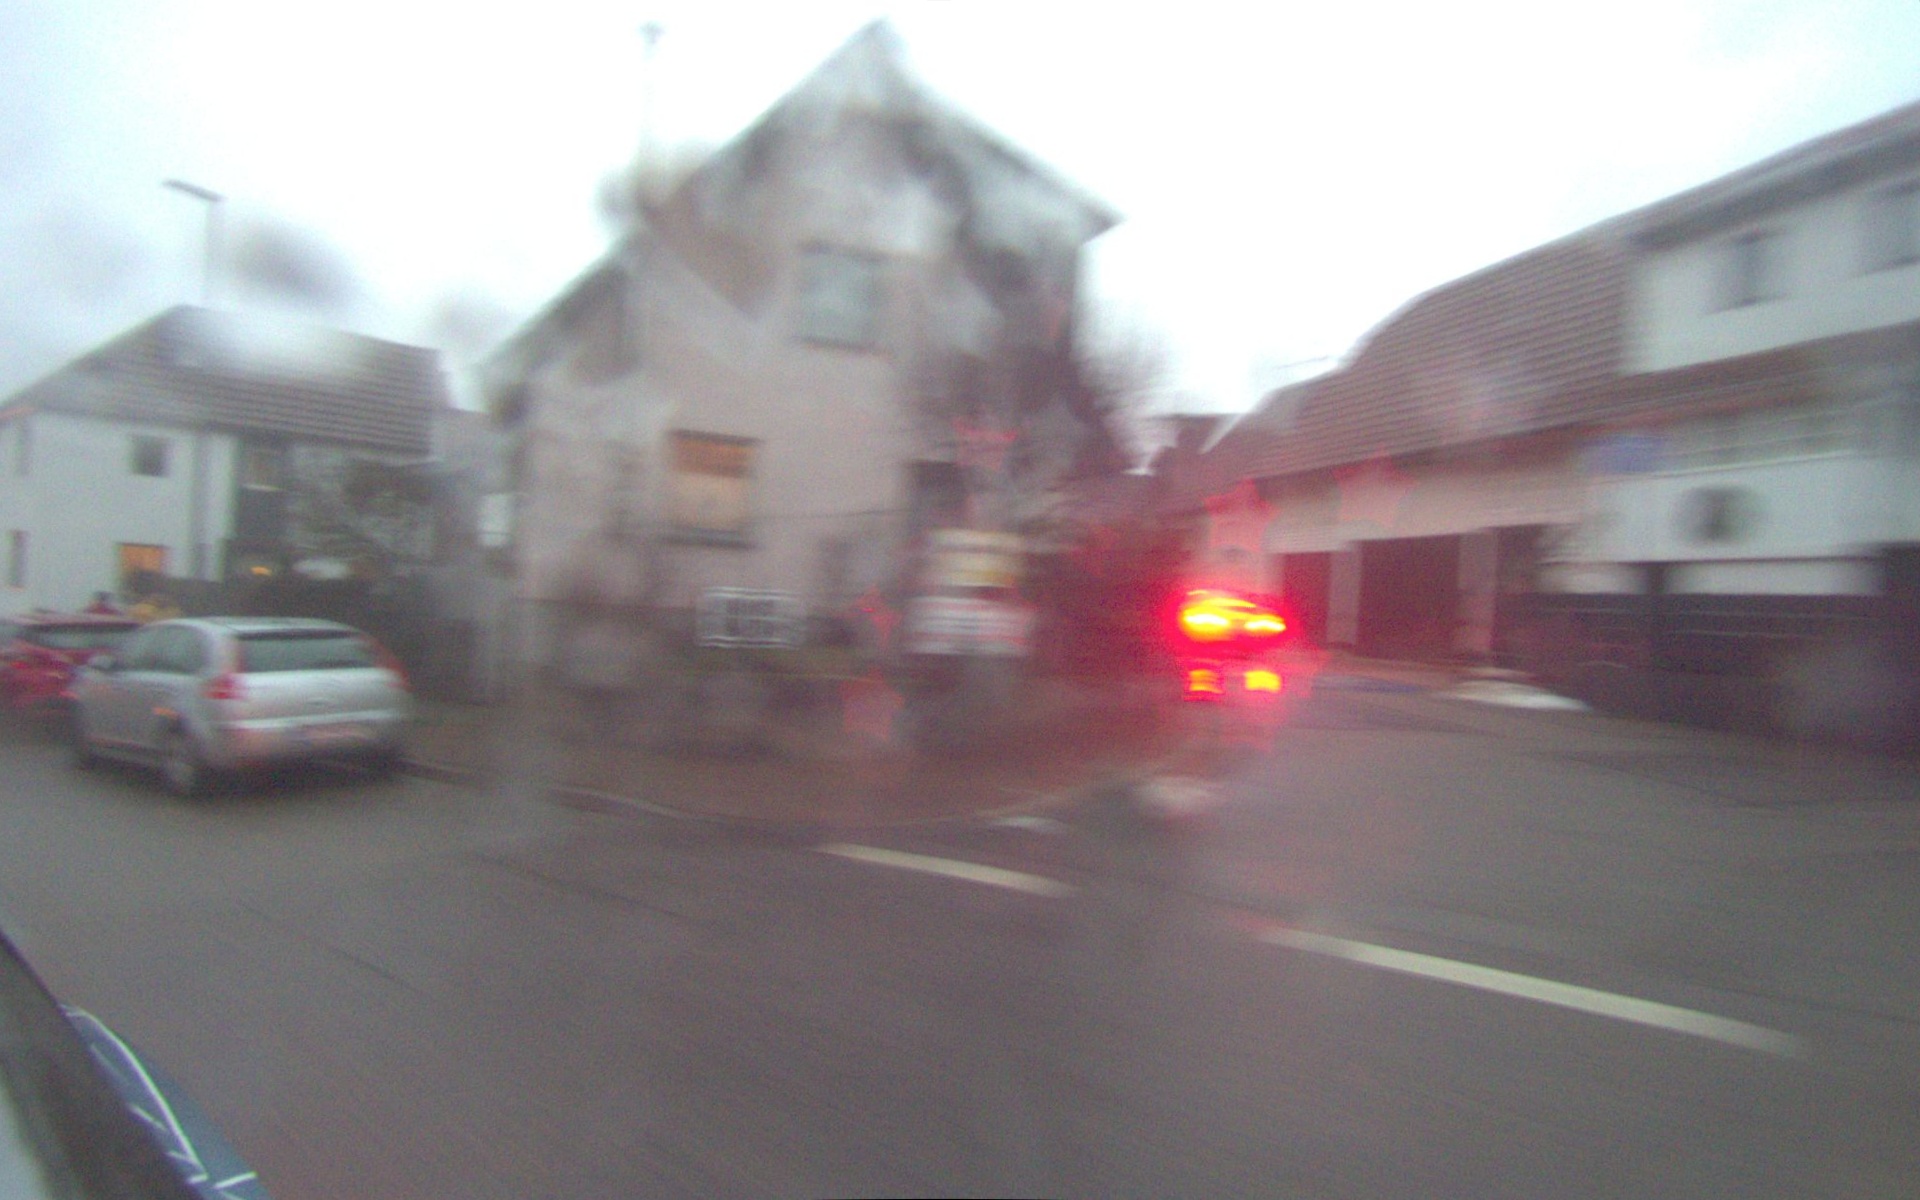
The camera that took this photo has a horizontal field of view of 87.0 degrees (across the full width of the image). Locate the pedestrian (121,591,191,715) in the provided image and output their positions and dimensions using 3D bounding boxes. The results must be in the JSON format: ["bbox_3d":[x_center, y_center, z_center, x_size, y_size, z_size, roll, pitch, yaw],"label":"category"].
[{"bbox_3d":[-12.636,0.818,15.905,0.810,1.883,0.593,1,-1,33],"label":"pedestrian"}]

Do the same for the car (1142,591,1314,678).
[{"bbox_3d":[5.462,0.640,21.201,1.968,1.644,4.008,1,0,-10],"label":"car"}]

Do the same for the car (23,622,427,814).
[{"bbox_3d":[-6.935,0.920,9.436,4.135,1.399,1.734,0,-1,34],"label":"car"}]

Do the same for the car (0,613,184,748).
[{"bbox_3d":[-11.608,0.900,12.751,4.059,1.451,1.807,0,-2,36],"label":"car"}]

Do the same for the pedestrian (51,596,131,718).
[{"bbox_3d":[-13.206,0.842,15.388,0.810,1.792,0.700,1,-1,34],"label":"pedestrian"}]
